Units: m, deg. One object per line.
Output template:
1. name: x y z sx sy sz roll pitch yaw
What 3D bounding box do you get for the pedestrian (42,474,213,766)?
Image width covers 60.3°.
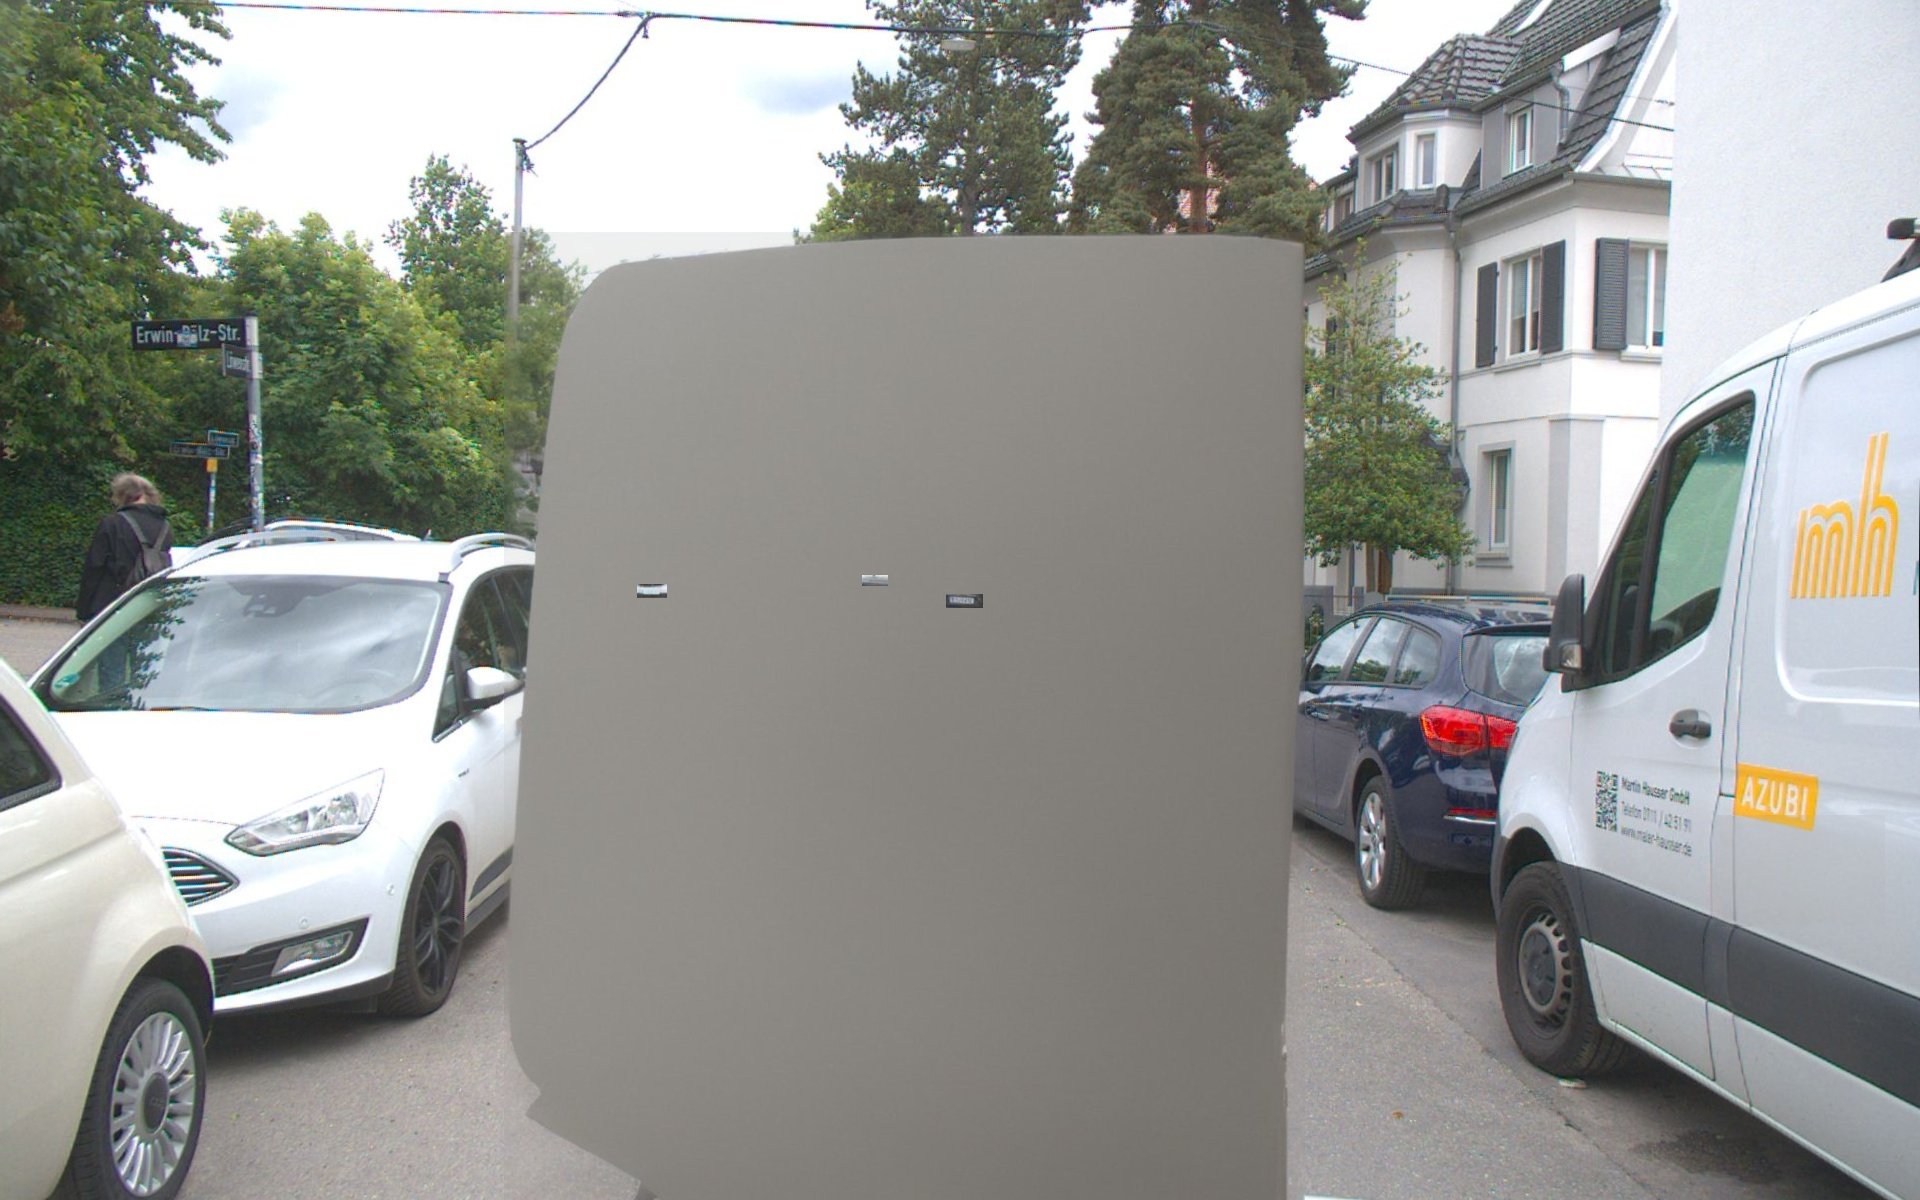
1. pedestrian: -5.341 0.125 10.655 0.807 1.790 0.641 3 1 -17

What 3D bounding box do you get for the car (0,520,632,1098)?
1. car: -2.643 0.550 6.905 1.767 1.688 4.151 1 2 -1

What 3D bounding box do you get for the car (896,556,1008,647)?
1. car: -0.203 0.002 33.436 1.545 1.558 2.858 4 2 -14

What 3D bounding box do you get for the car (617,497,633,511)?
1. car: -40.820 -11.684 201.668 1.680 1.613 3.993 2 3 -9

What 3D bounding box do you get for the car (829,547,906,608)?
1. car: -2.594 -0.641 45.593 1.546 1.424 3.646 3 3 -11

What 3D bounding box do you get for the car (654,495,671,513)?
1. car: -30.664 -9.883 170.358 1.605 1.730 3.485 2 4 -13

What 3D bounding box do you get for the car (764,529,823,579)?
1. car: -6.287 -1.750 62.054 1.719 1.635 4.065 3 2 -12

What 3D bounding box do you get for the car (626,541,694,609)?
1. car: -7.660 -0.675 42.377 1.414 1.578 2.768 -1 4 -5

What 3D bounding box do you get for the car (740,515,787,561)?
1. car: -9.096 -2.879 76.406 1.653 1.860 4.146 3 3 -13

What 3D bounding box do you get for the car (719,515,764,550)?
1. car: -11.518 -3.575 86.916 1.728 1.633 4.558 2 3 -15

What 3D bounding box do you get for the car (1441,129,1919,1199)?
1. car: 2.860 0.318 3.832 1.952 2.464 5.293 1 0 0

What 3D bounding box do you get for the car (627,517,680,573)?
1. car: -11.390 -2.093 61.287 1.822 1.946 4.608 -1 3 -11

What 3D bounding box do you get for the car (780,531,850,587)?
1. car: -4.982 -1.431 56.434 1.754 1.630 4.292 3 3 -13

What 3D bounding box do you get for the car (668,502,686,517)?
1. car: -31.685 -10.158 184.970 1.748 1.514 3.989 1 3 -13

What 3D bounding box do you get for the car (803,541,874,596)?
1. car: -3.735 -0.995 50.357 1.618 1.483 4.041 3 2 -12

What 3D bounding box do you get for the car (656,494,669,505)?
1. car: -42.448 -14.334 236.016 1.757 1.555 3.726 2 3 -10

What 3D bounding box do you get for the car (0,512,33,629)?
1. car: -14.336 -0.571 20.635 4.430 1.462 1.826 5 0 -18

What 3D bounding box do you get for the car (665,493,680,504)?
1. car: -39.571 -13.978 227.562 1.779 1.358 3.623 3 4 -13

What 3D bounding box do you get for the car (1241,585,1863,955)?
1. car: 2.929 0.721 9.284 1.782 1.511 4.285 2 1 -2

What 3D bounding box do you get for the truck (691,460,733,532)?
1. truck: -17.586 -7.349 116.891 2.479 4.829 7.171 2 3 -11

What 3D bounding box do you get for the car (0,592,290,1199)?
1. car: -2.582 0.747 2.635 1.574 1.478 3.613 -1 0 -1

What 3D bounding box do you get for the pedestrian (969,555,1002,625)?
1. pedestrian: 0.590 -0.247 38.895 0.668 1.604 0.905 -1 1 -6

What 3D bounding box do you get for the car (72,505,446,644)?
1. car: -9.811 -0.316 23.424 1.802 1.684 4.488 4 1 41

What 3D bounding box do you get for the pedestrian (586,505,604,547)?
1. pedestrian: -18.432 -3.747 83.591 0.797 2.048 0.858 2 3 -11
